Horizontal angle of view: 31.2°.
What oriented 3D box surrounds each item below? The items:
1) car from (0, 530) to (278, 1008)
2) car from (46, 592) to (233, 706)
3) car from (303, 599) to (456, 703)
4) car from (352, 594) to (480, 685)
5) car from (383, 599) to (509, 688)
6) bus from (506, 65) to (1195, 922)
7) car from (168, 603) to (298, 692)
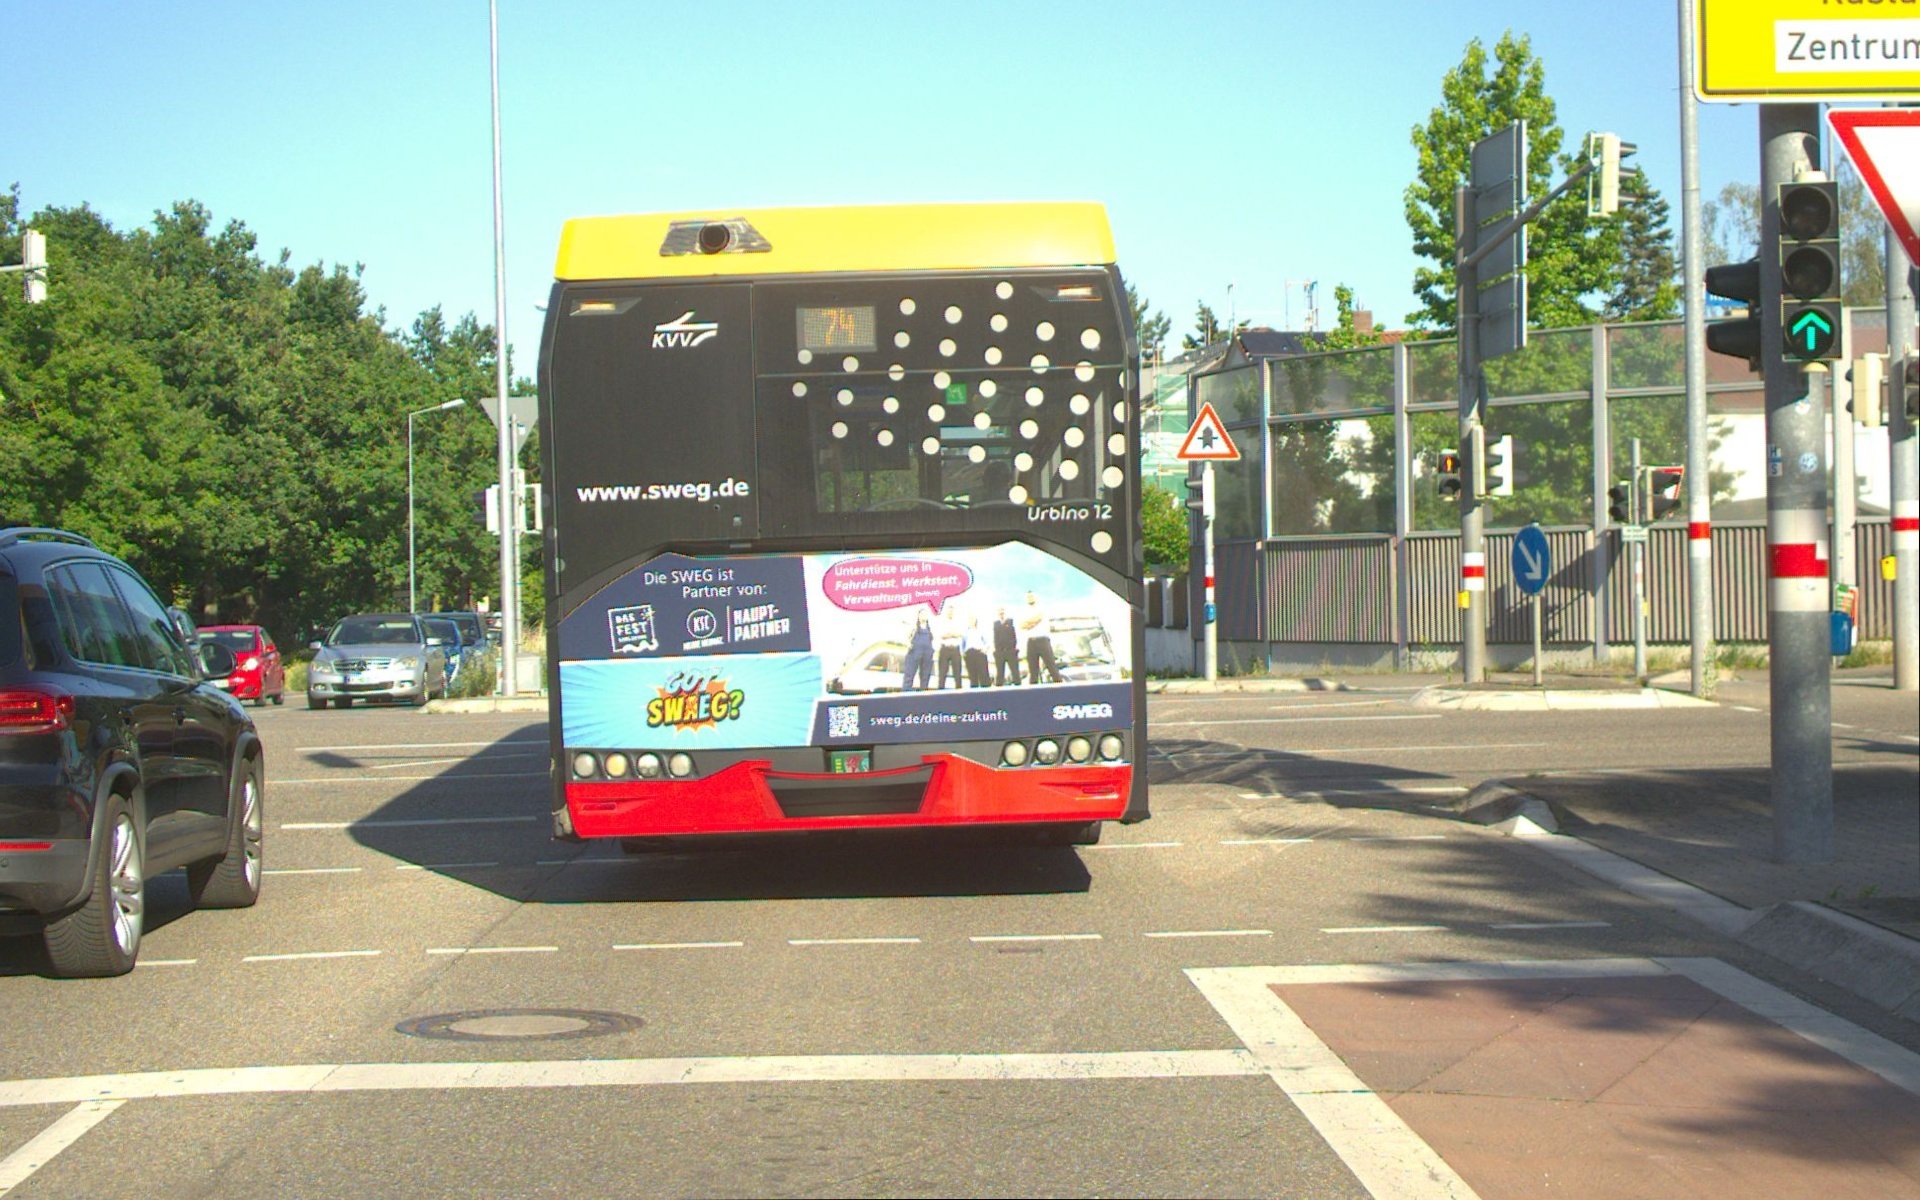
[{"bbox_3d":[-4.001,0.564,13.675,1.827,1.622,4.000,-1,1,-1],"label":"car"},{"bbox_3d":[-12.657,0.741,53.288,1.993,1.638,4.530,-1,0,-3],"label":"car"},{"bbox_3d":[-8.923,0.770,53.141,1.793,1.501,4.530,-1,0,-3],"label":"car"},{"bbox_3d":[-9.341,0.669,59.251,1.746,1.478,3.888,-1,0,-3],"label":"car"},{"bbox_3d":[-9.833,0.821,66.064,1.993,1.611,4.531,-1,0,-4],"label":"car"},{"bbox_3d":[-0.725,-0.505,20.181,2.757,3.446,12.399,1,1,-3],"label":"bus"},{"bbox_3d":[-12.734,0.819,60.362,1.645,1.478,3.714,-1,0,-3],"label":"car"}]
